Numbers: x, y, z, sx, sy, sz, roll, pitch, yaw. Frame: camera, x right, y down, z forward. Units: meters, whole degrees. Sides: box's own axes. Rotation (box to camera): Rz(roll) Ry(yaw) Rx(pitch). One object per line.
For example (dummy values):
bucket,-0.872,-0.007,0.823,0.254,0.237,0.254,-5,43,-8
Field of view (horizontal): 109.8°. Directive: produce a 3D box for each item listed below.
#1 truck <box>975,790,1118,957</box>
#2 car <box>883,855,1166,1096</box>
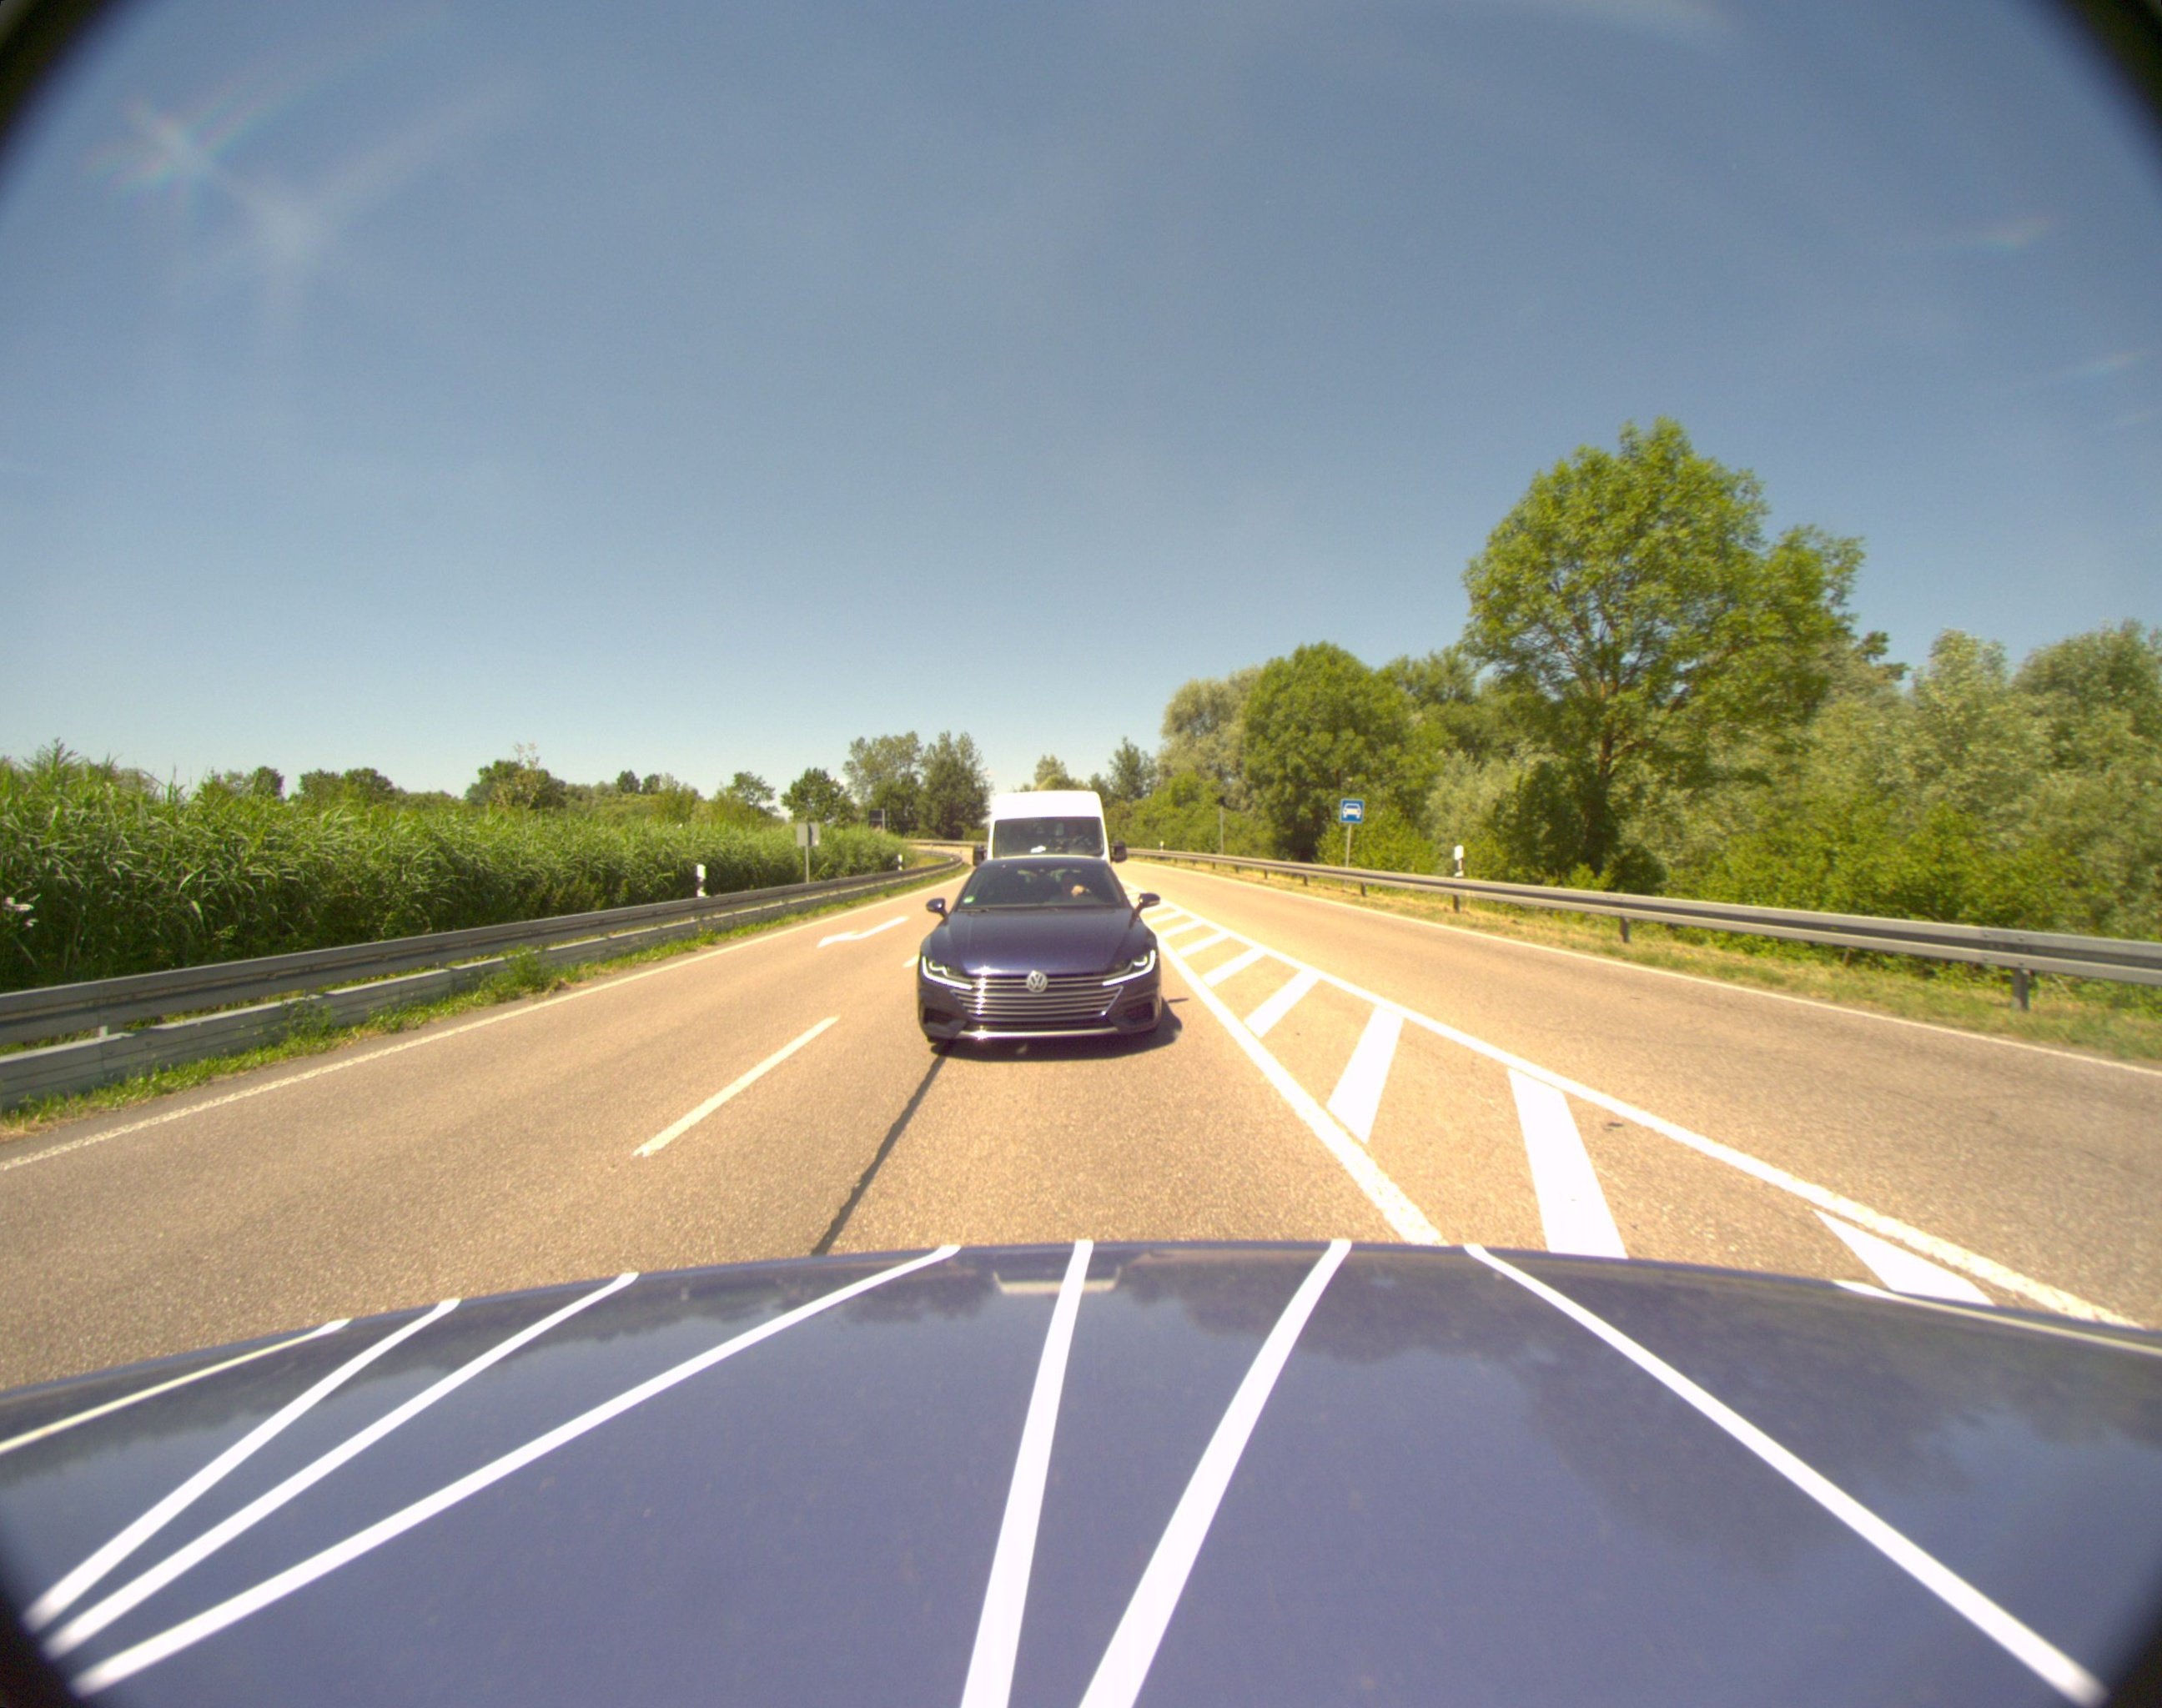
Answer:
truck,-0.685,0.228,13.930,2.011,2.365,5.909,-2,1,-4
car,-0.347,0.800,7.185,1.819,1.454,4.414,-1,1,0
